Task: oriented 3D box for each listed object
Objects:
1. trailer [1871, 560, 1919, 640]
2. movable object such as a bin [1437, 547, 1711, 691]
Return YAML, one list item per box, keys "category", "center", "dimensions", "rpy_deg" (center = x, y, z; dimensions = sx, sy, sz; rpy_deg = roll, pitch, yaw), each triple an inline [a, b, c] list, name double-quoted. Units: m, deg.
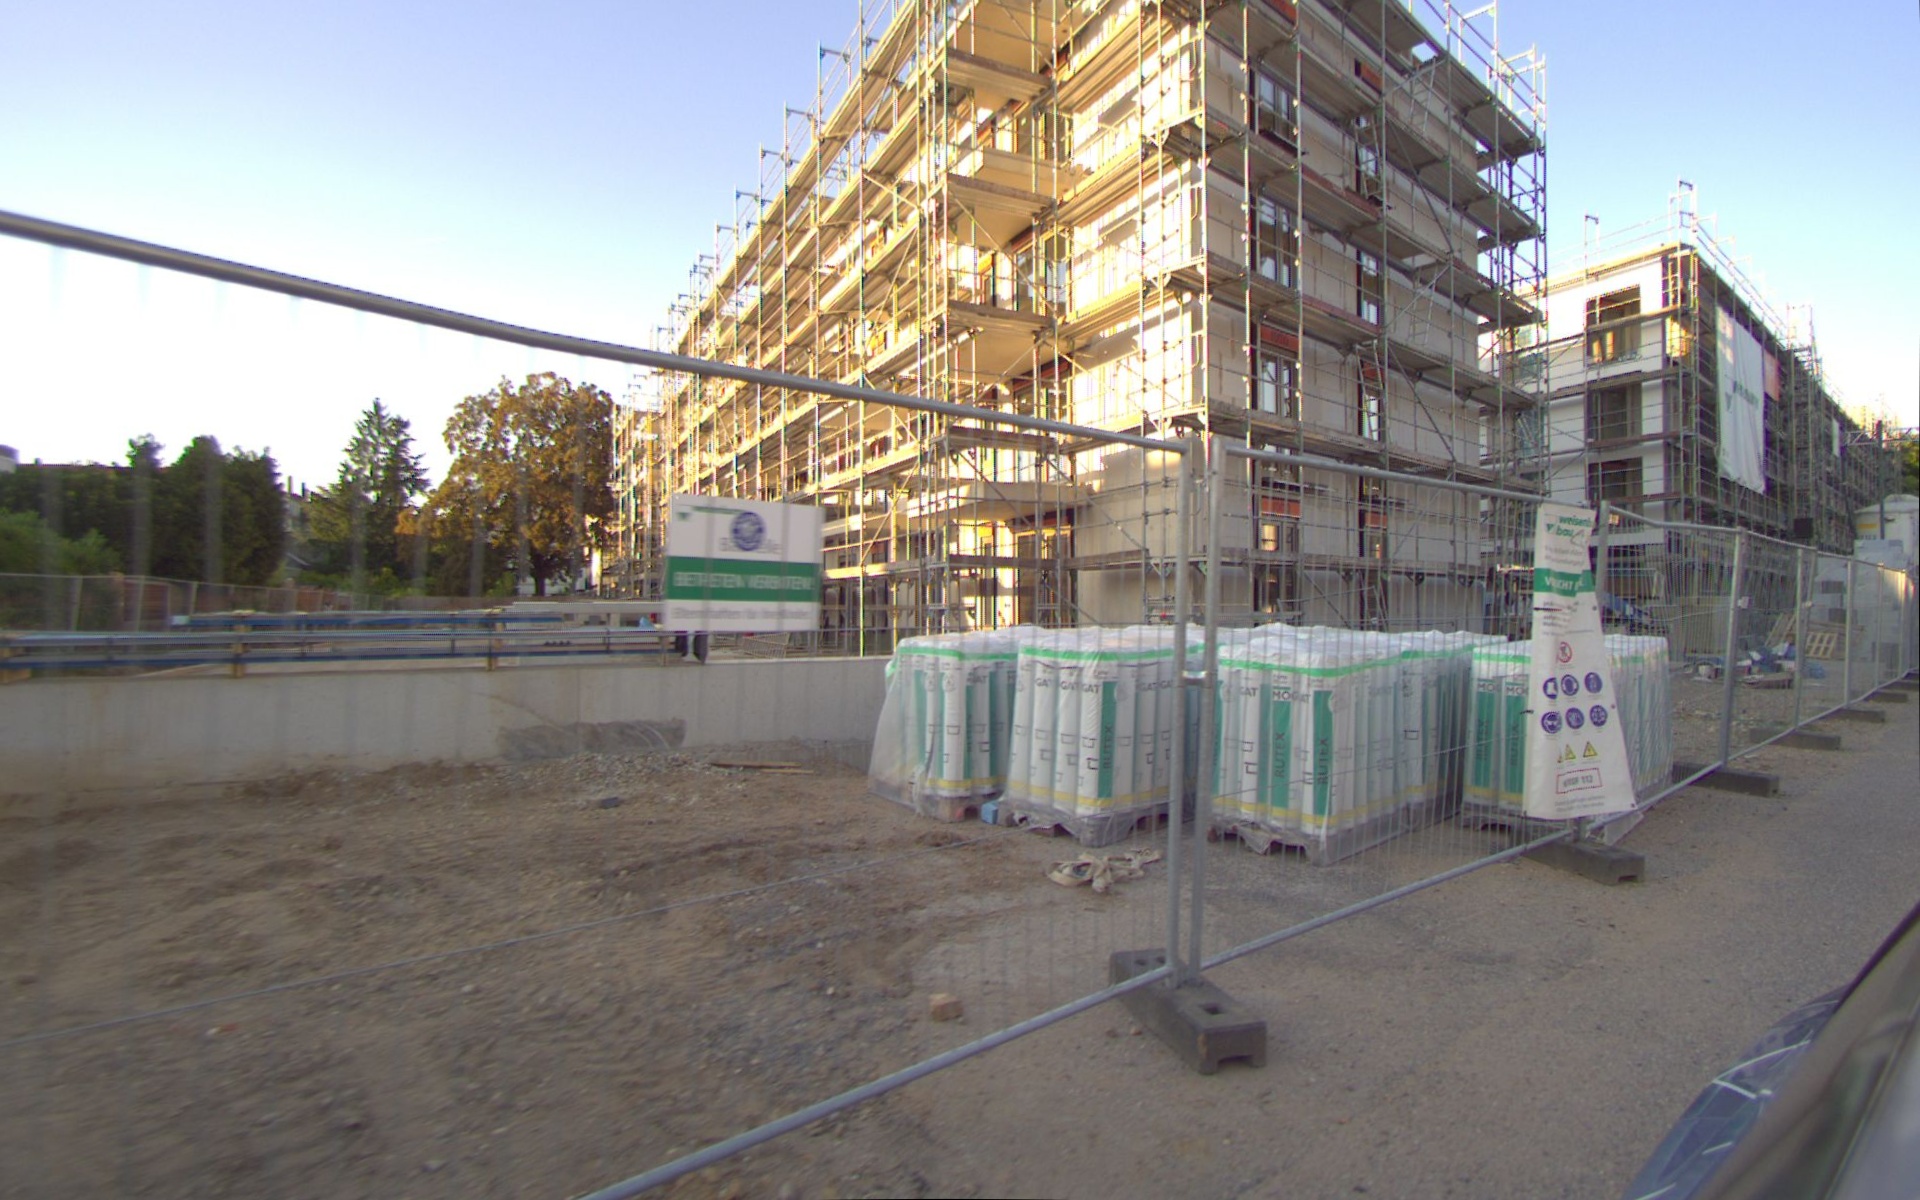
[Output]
- category: "trailer"
  center: [37.406, 0.004, 39.410]
  dimensions: [6.136, 2.949, 2.575]
  rpy_deg: [0, 0, -45]
- category: "movable object such as a bin"
  center: [12.138, 0.296, 19.592]
  dimensions: [8.220, 2.302, 2.069]
  rpy_deg: [0, 0, -40]
